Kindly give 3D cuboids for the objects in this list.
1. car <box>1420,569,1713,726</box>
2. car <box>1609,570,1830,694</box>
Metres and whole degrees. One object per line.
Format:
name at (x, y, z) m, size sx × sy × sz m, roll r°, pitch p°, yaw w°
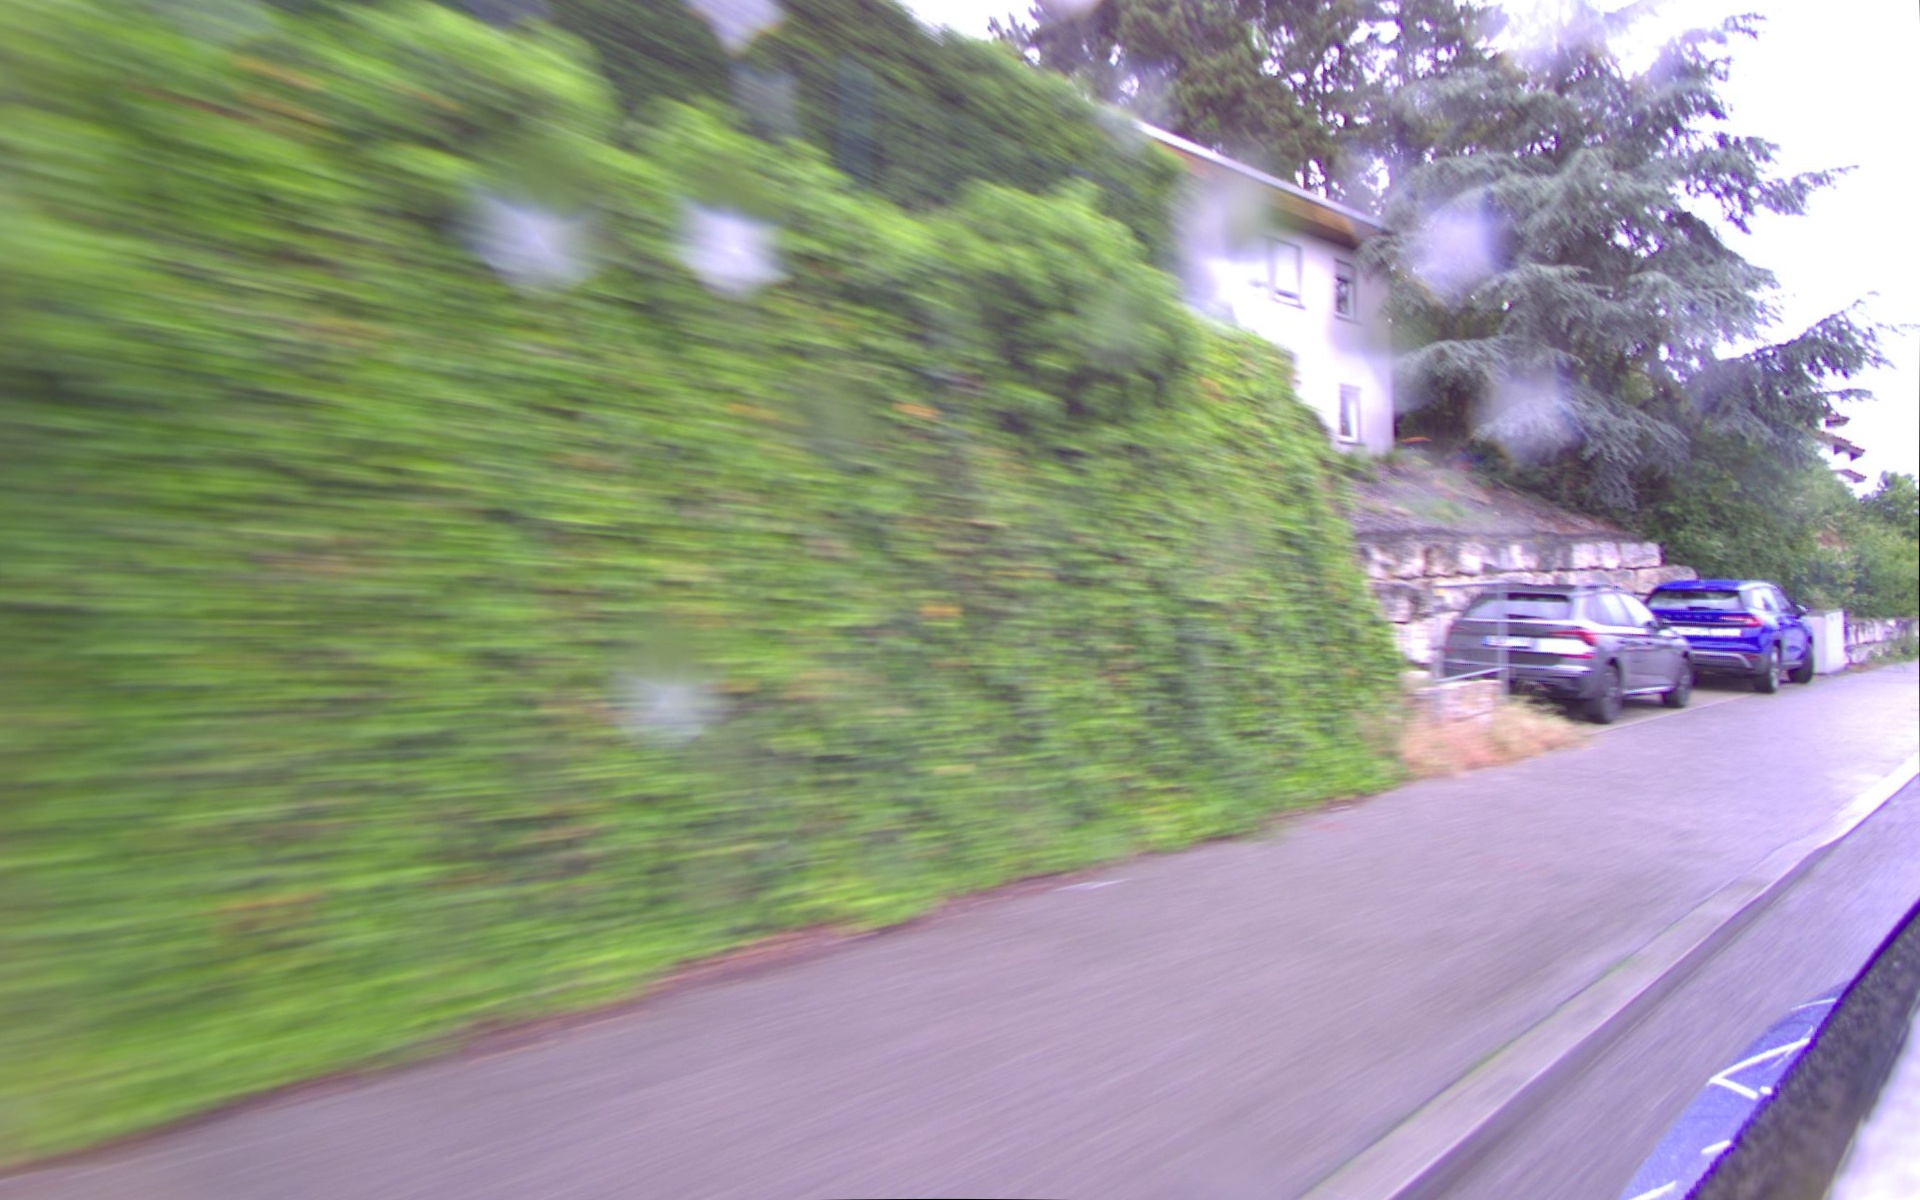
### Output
car at (7.497, 0.458, 12.379) m, size 3.938 × 1.582 × 1.815 m, roll 0°, pitch 2°, yaw -39°
car at (12.318, 0.402, 16.299) m, size 4.466 × 1.691 × 1.997 m, roll -1°, pitch 2°, yaw -42°
